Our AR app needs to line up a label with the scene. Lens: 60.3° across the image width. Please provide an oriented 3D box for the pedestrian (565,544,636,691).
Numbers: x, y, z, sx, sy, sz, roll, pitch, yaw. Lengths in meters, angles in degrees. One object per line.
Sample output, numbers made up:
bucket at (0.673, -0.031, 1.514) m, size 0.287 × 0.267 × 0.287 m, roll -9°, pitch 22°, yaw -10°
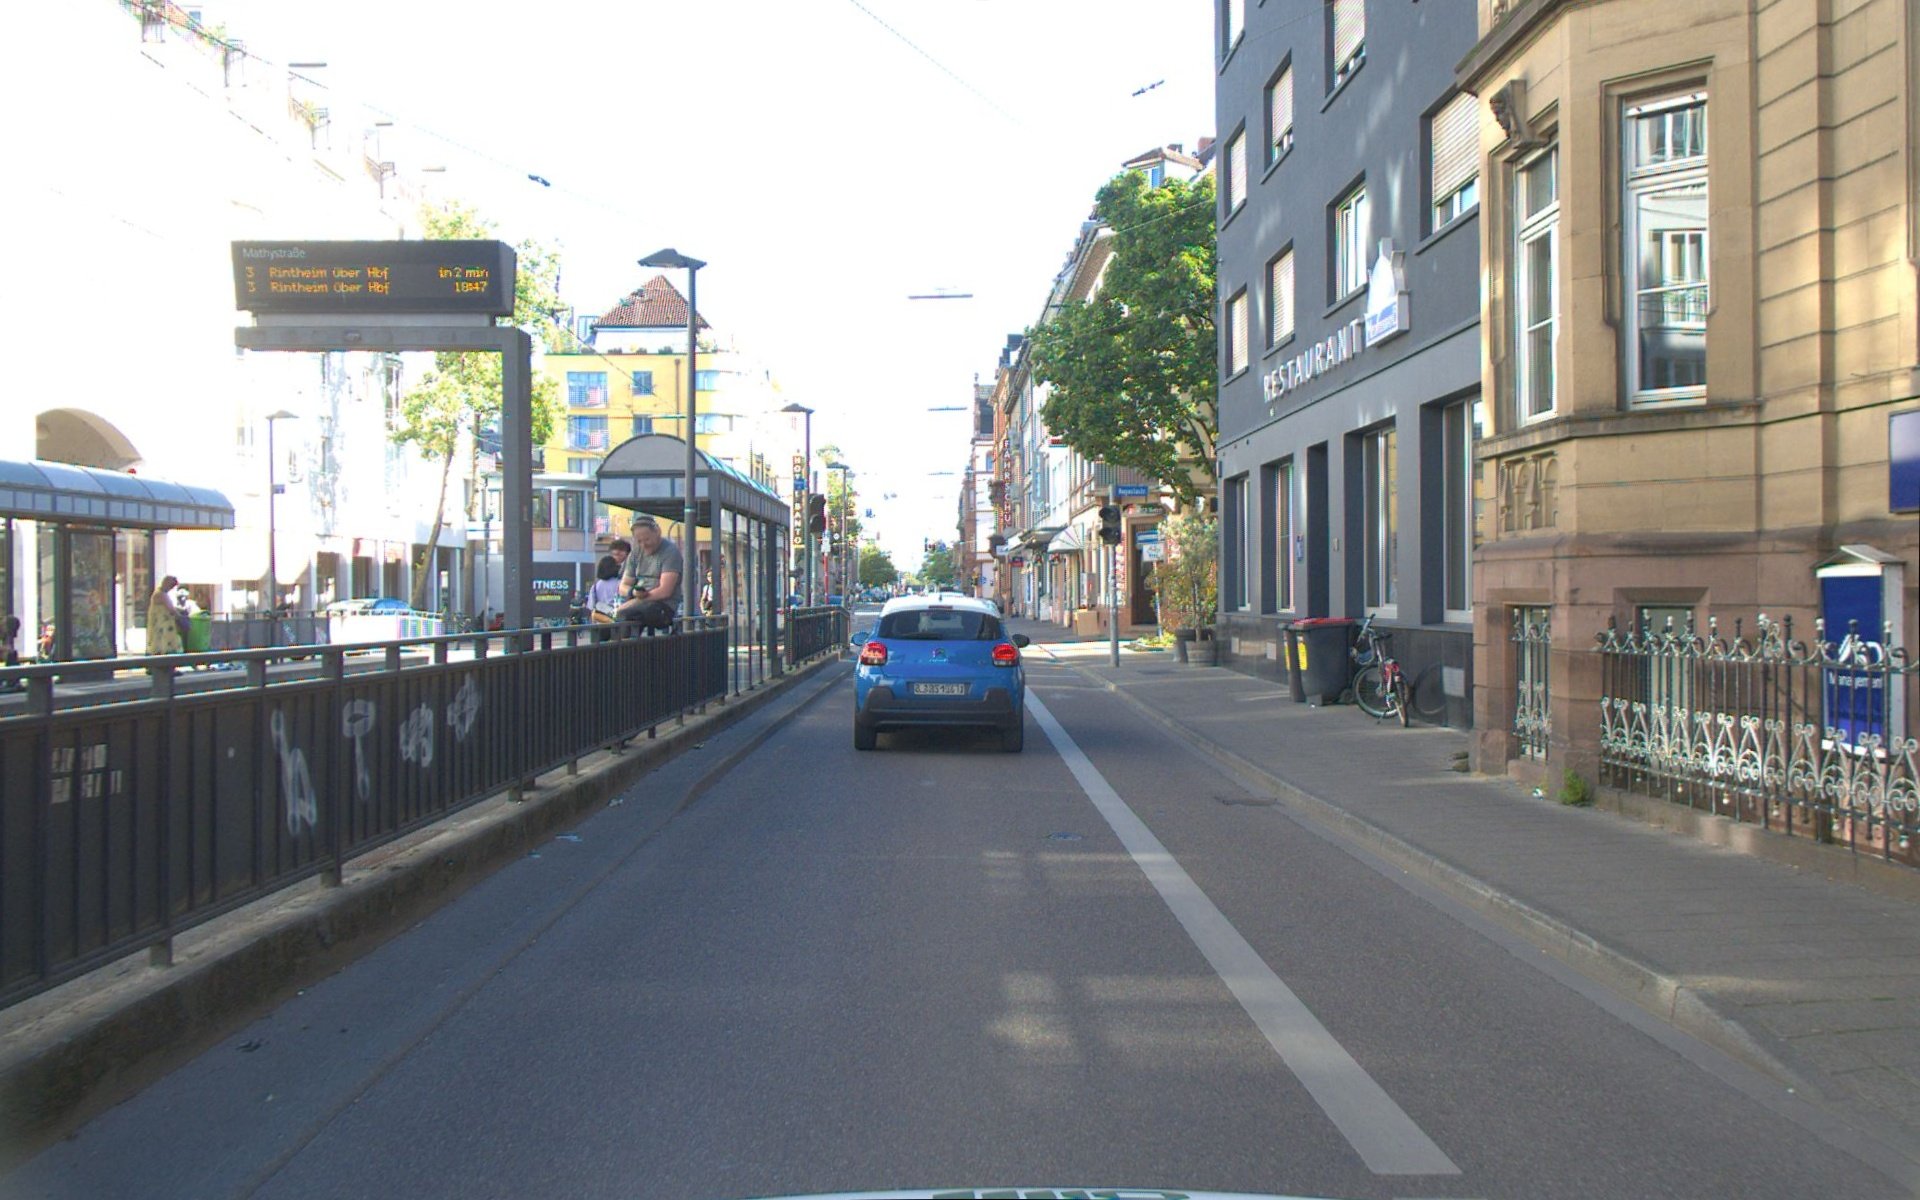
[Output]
pedestrian at (-3.969, 0.192, 18.261) m, size 0.575 × 1.589 × 0.468 m, roll -1°, pitch 0°, yaw 35°

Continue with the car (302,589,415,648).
car at (-15.826, 0.459, 43.696) m, size 1.657 × 1.446 × 3.646 m, roll -1°, pitch 1°, yaw 0°

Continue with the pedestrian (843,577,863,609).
pedestrian at (-5.729, -0.370, 88.246) m, size 0.829 × 1.683 × 0.691 m, roll -1°, pitch 0°, yaw -29°

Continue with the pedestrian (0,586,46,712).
pedestrian at (-12.090, 0.601, 20.841) m, size 0.716 × 1.554 × 0.742 m, roll -1°, pitch 1°, yaw -2°

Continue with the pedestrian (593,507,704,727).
pedestrian at (-2.522, 0.136, 13.476) m, size 0.623 × 1.727 × 0.934 m, roll 0°, pitch -1°, yaw 6°

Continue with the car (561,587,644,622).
car at (-18.215, 0.219, 84.379) m, size 3.909 × 1.704 × 1.956 m, roll -1°, pitch 0°, yaw -5°

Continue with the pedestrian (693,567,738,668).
pedestrian at (-3.904, 0.281, 26.434) m, size 0.608 × 1.586 × 0.568 m, roll -1°, pitch 0°, yaw -1°

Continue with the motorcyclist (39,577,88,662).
motorcyclist at (-16.347, 0.357, 30.172) m, size 0.477 × 1.529 × 0.722 m, roll 1°, pitch -1°, yaw 0°

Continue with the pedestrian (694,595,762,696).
pedestrian at (-3.063, 0.590, 21.895) m, size 0.749 × 1.294 × 0.719 m, roll -1°, pitch 0°, yaw 1°

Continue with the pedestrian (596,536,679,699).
pedestrian at (-3.643, 0.193, 18.702) m, size 0.704 × 1.808 × 0.563 m, roll -1°, pitch 0°, yaw 35°

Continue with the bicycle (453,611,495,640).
bicycle at (-17.034, 0.894, 58.024) m, size 0.384 × 0.957 × 1.490 m, roll -1°, pitch 0°, yaw 34°

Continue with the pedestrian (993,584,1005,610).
pedestrian at (2.449, -0.192, 104.330) m, size 0.679 × 1.680 × 0.680 m, roll -1°, pitch 0°, yaw -2°

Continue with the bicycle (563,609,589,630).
bicycle at (-14.968, 0.753, 64.547) m, size 0.554 × 0.770 × 1.937 m, roll -1°, pitch 0°, yaw 0°

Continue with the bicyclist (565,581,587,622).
bicyclist at (-14.997, 0.067, 64.578) m, size 0.658 × 1.584 × 0.778 m, roll -1°, pitch 0°, yaw 0°

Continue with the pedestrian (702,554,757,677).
pedestrian at (-3.408, 0.223, 24.433) m, size 0.557 × 1.781 × 0.712 m, roll -1°, pitch 0°, yaw -30°

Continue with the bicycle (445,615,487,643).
bicycle at (-17.397, 1.026, 58.291) m, size 0.384 × 0.957 × 1.490 m, roll -1°, pitch 0°, yaw 34°

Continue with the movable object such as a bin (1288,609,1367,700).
movable object such as a bin at (4.589, 0.673, 20.691) m, size 0.733 × 1.054 × 0.753 m, roll -4°, pitch 0°, yaw -1°

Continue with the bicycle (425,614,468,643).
bicycle at (-17.527, 0.965, 56.491) m, size 0.384 × 0.957 × 1.490 m, roll -1°, pitch 0°, yaw 34°

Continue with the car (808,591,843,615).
car at (-8.928, 0.176, 109.908) m, size 1.911 × 1.512 × 4.000 m, roll -2°, pitch 0°, yaw 1°

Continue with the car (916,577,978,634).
car at (-0.446, 0.213, 54.228) m, size 1.953 × 1.773 × 3.999 m, roll 1°, pitch -1°, yaw -1°

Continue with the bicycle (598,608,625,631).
bicycle at (-16.356, 0.916, 77.679) m, size 0.665 × 1.020 × 2.686 m, roll -1°, pitch 0°, yaw 0°

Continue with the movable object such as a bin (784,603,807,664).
movable object such as a bin at (-2.766, 0.562, 27.849) m, size 0.339 × 1.025 × 0.404 m, roll -1°, pitch 0°, yaw 0°

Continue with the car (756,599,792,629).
car at (-10.654, 0.777, 95.083) m, size 1.718 × 1.643 × 4.824 m, roll -2°, pitch 0°, yaw -3°

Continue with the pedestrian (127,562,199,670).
pedestrian at (-11.927, 0.233, 24.762) m, size 0.716 × 1.586 × 0.742 m, roll -1°, pitch 1°, yaw -2°

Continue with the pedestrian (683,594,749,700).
pedestrian at (-3.076, 0.582, 20.909) m, size 0.696 × 1.294 × 0.657 m, roll -1°, pitch 0°, yaw 1°

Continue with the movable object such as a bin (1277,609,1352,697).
movable object such as a bin at (4.588, 0.675, 21.455) m, size 0.733 × 1.054 × 0.753 m, roll -4°, pitch 0°, yaw -1°

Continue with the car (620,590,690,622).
car at (-18.411, 0.366, 100.002) m, size 3.909 × 1.880 × 1.956 m, roll -1°, pitch 0°, yaw -5°

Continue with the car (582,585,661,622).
car at (-18.162, 0.178, 88.910) m, size 3.909 × 1.880 × 1.956 m, roll -1°, pitch 0°, yaw -5°

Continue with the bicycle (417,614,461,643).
bicycle at (-17.857, 0.964, 56.723) m, size 0.384 × 0.957 × 1.490 m, roll -1°, pitch 0°, yaw 34°

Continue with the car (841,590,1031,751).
car at (-0.249, 0.647, 17.137) m, size 1.745 × 1.476 × 3.653 m, roll 1°, pitch 0°, yaw -1°

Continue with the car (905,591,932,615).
car at (-3.059, 0.242, 123.293) m, size 1.953 × 1.773 × 3.999 m, roll 1°, pitch -1°, yaw -1°

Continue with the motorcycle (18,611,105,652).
motorcycle at (-16.355, 0.571, 30.154) m, size 0.483 × 0.732 × 2.006 m, roll 1°, pitch -1°, yaw 0°

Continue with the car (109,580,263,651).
car at (-16.854, 0.306, 36.217) m, size 1.657 × 1.446 × 3.646 m, roll -1°, pitch 1°, yaw 0°

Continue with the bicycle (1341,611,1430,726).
bicycle at (4.559, 0.708, 17.815) m, size 0.450 × 1.142 × 1.773 m, roll -2°, pitch 0°, yaw -1°
